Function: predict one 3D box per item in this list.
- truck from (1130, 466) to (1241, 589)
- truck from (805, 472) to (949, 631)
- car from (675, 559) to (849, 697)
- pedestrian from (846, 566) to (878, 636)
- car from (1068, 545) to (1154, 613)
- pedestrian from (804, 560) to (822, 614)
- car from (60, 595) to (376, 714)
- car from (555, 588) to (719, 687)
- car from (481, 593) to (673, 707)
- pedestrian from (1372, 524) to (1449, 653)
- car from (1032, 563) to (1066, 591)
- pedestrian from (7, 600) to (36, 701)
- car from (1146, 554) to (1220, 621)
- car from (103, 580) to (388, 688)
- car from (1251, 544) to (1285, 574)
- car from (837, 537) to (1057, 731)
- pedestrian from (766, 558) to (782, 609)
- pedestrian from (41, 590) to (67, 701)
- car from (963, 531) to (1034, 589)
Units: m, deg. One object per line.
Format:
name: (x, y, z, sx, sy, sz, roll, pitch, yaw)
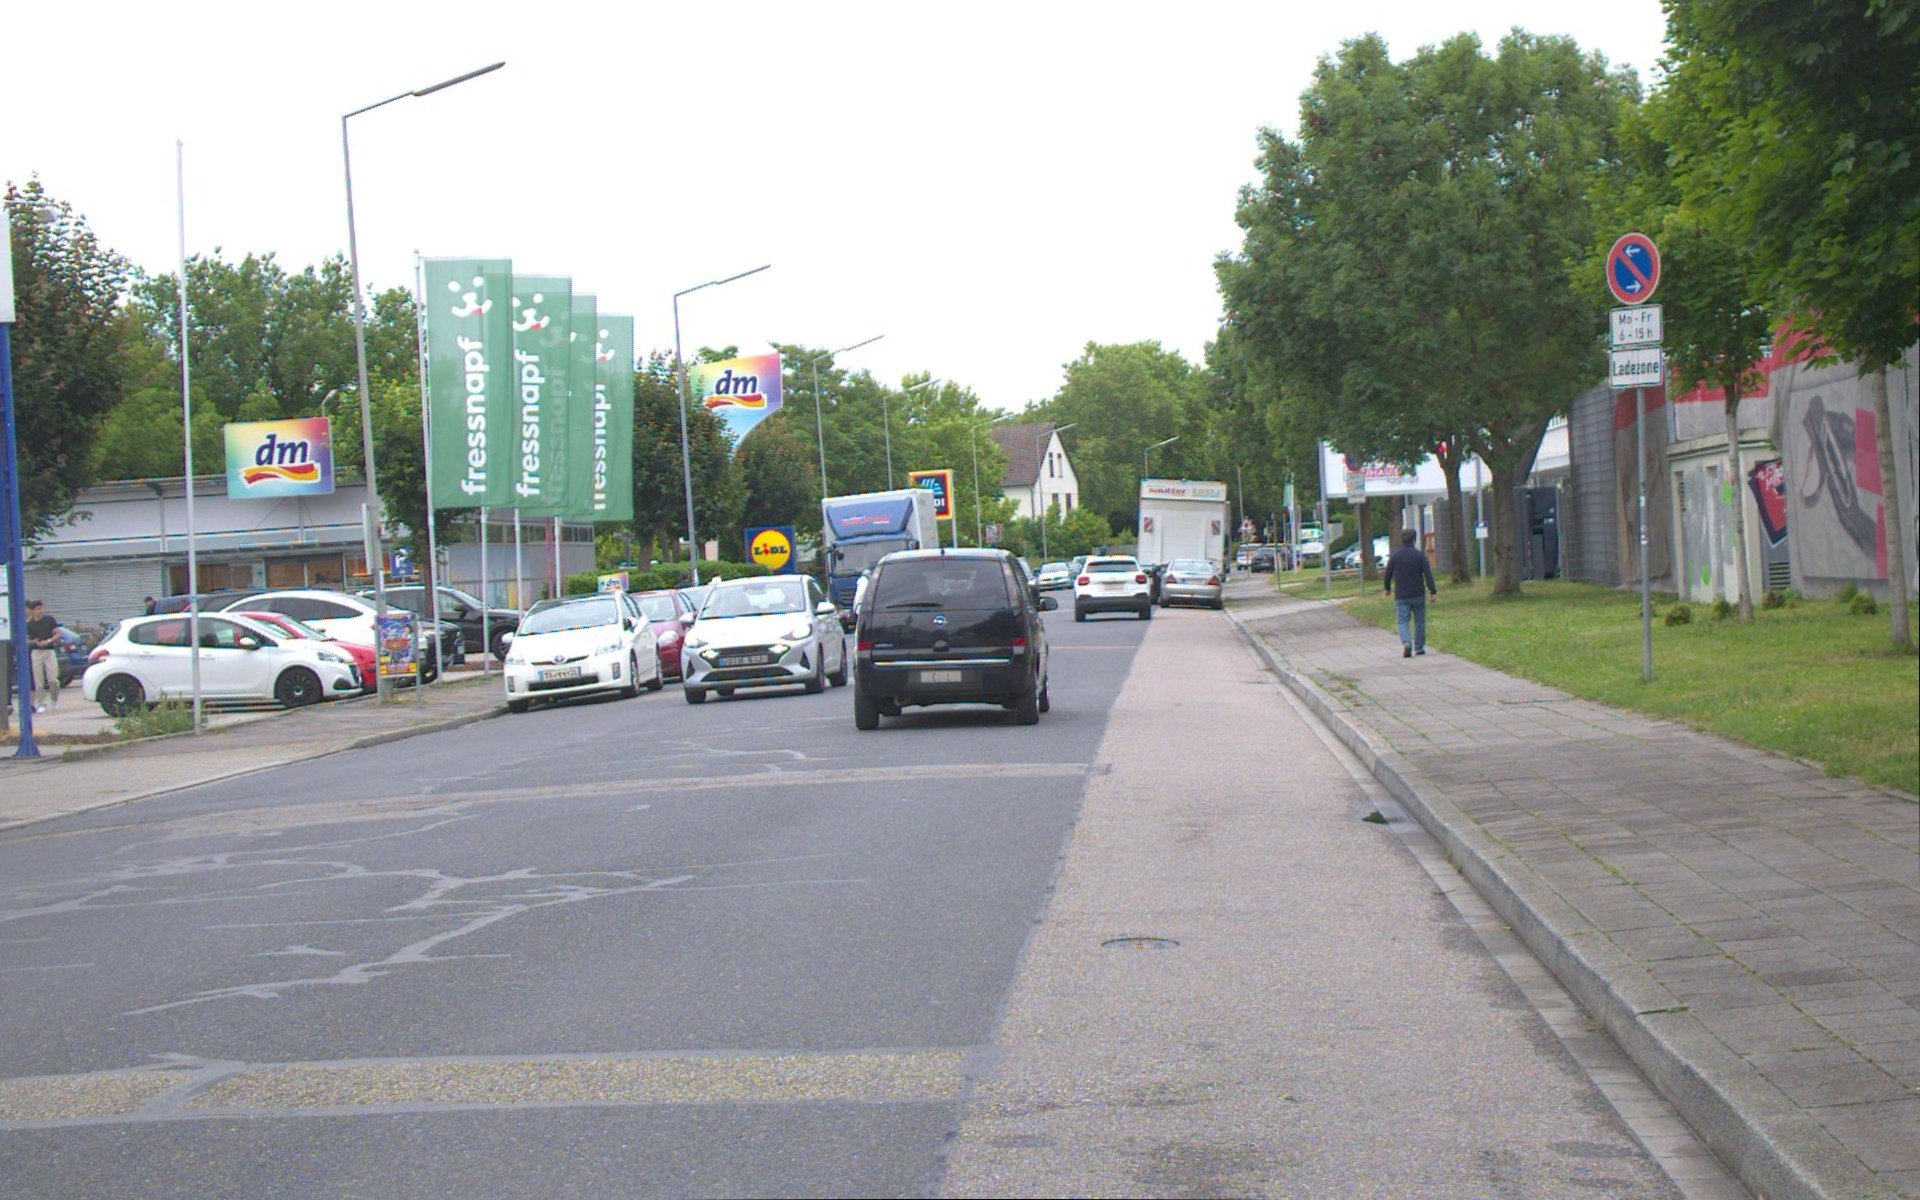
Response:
truck: (6.930, -2.173, 106.996, 3.135, 3.572, 10.049, -2, 0, 2)
truck: (-2.186, -1.316, 93.210, 2.974, 3.942, 6.404, -4, 1, 4)
car: (-2.416, 0.324, 42.751, 1.599, 1.523, 3.527, -5, 0, 4)
pedestrian: (-2.341, 0.014, 82.390, 0.631, 1.631, 0.668, -3, 0, 3)
car: (3.613, -0.513, 81.755, 1.887, 1.526, 4.253, -1, 1, 4)
pedestrian: (-4.254, -0.377, 99.519, 0.401, 1.526, 0.485, -3, 0, -2)
car: (-10.825, 0.781, 50.410, 4.202, 1.458, 1.953, -3, 1, -3)
car: (-5.059, 0.559, 54.318, 1.898, 1.362, 4.000, -3, 1, 4)
car: (-5.272, 0.660, 47.801, 1.898, 1.362, 4.000, -3, 1, 4)
pedestrian: (5.833, -0.150, 44.601, 0.919, 1.629, 0.852, -2, 0, 6)
car: (4.533, -1.154, 175.457, 1.542, 1.361, 3.428, -2, 0, 4)
pedestrian: (-14.792, 0.791, 54.195, 0.330, 1.565, 0.504, -2, 1, -8)
car: (6.327, -0.359, 97.898, 1.994, 1.800, 4.000, -2, 0, 3)
car: (-11.454, 0.535, 55.330, 4.135, 1.458, 1.899, -3, 1, -1)
car: (18.010, -2.424, 201.388, 1.887, 1.677, 4.253, -1, 1, 4)
car: (-0.061, 0.274, 32.226, 1.681, 1.626, 3.758, -3, 1, 4)
pedestrian: (-5.691, -0.501, 105.317, 0.401, 1.526, 0.485, -3, 0, -2)
pedestrian: (-14.227, 0.717, 53.999, 0.262, 1.724, 0.422, -3, 0, -8)
car: (1.191, -1.203, 105.304, 1.994, 1.678, 4.000, -2, 0, 3)
